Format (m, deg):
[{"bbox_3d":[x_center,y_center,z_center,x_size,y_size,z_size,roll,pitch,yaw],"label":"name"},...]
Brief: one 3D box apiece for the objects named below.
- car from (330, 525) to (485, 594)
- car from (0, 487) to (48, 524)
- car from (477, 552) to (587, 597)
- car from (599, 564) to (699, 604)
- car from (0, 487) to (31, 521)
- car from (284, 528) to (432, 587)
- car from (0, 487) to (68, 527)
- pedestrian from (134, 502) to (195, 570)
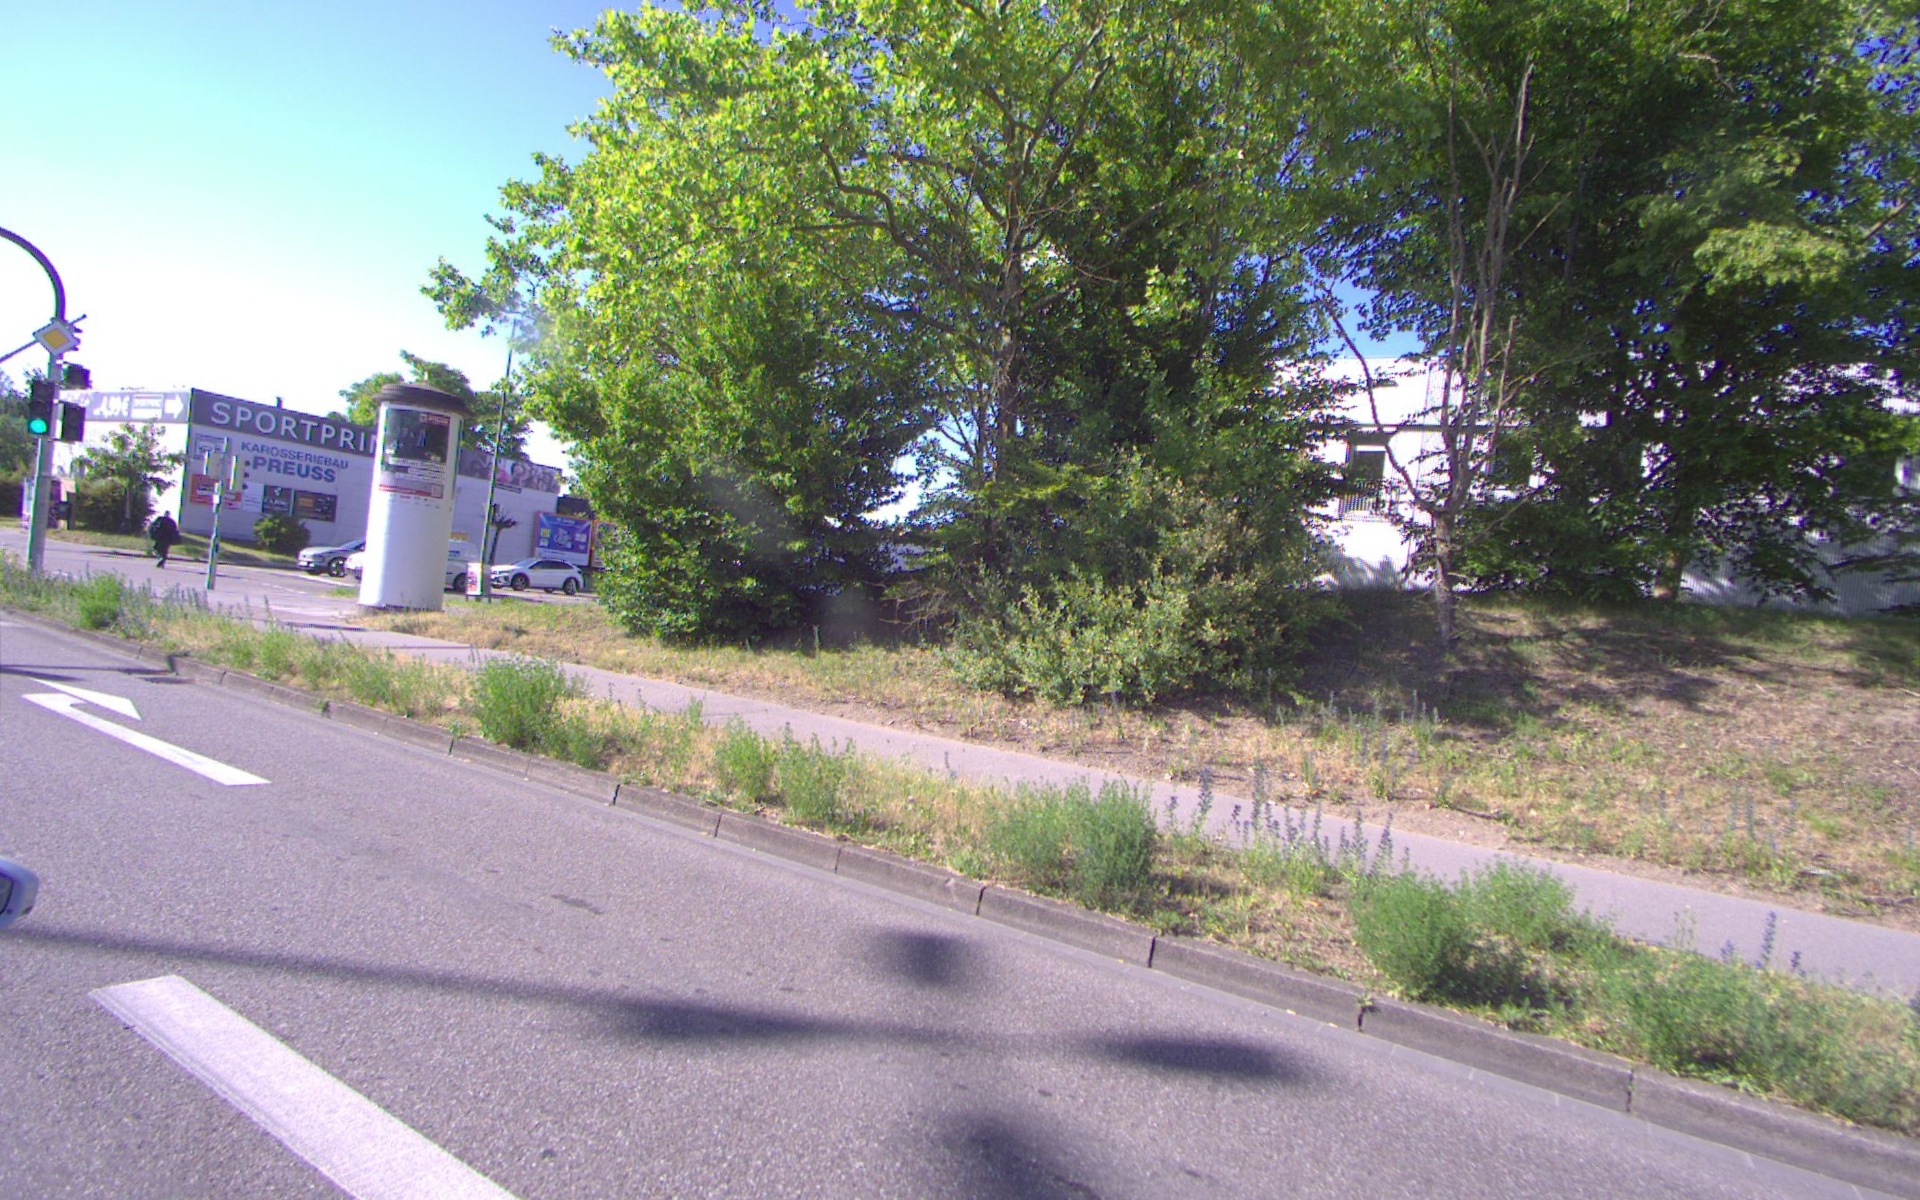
[{"bbox_3d":[-19.318,-1.382,35.369,1.735,1.824,4.388,8,1,30],"label":"car"},{"bbox_3d":[-44.698,-4.481,45.702,1.828,1.472,4.490,6,1,33],"label":"car"},{"bbox_3d":[-18.437,-1.084,43.476,1.753,1.509,4.046,6,0,30],"label":"car"},{"bbox_3d":[-15.115,-0.758,49.168,1.736,1.509,4.553,6,1,32],"label":"car"},{"bbox_3d":[-47.114,-4.775,47.433,1.828,1.472,4.490,6,1,33],"label":"car"},{"bbox_3d":[-22.099,-1.534,37.112,1.735,1.568,4.293,8,1,30],"label":"car"},{"bbox_3d":[-42.495,-4.241,44.246,1.828,1.472,4.490,6,1,33],"label":"car"},{"bbox_3d":[-22.713,-1.823,28.724,0.923,1.755,0.927,6,-2,31],"label":"pedestrian"}]
